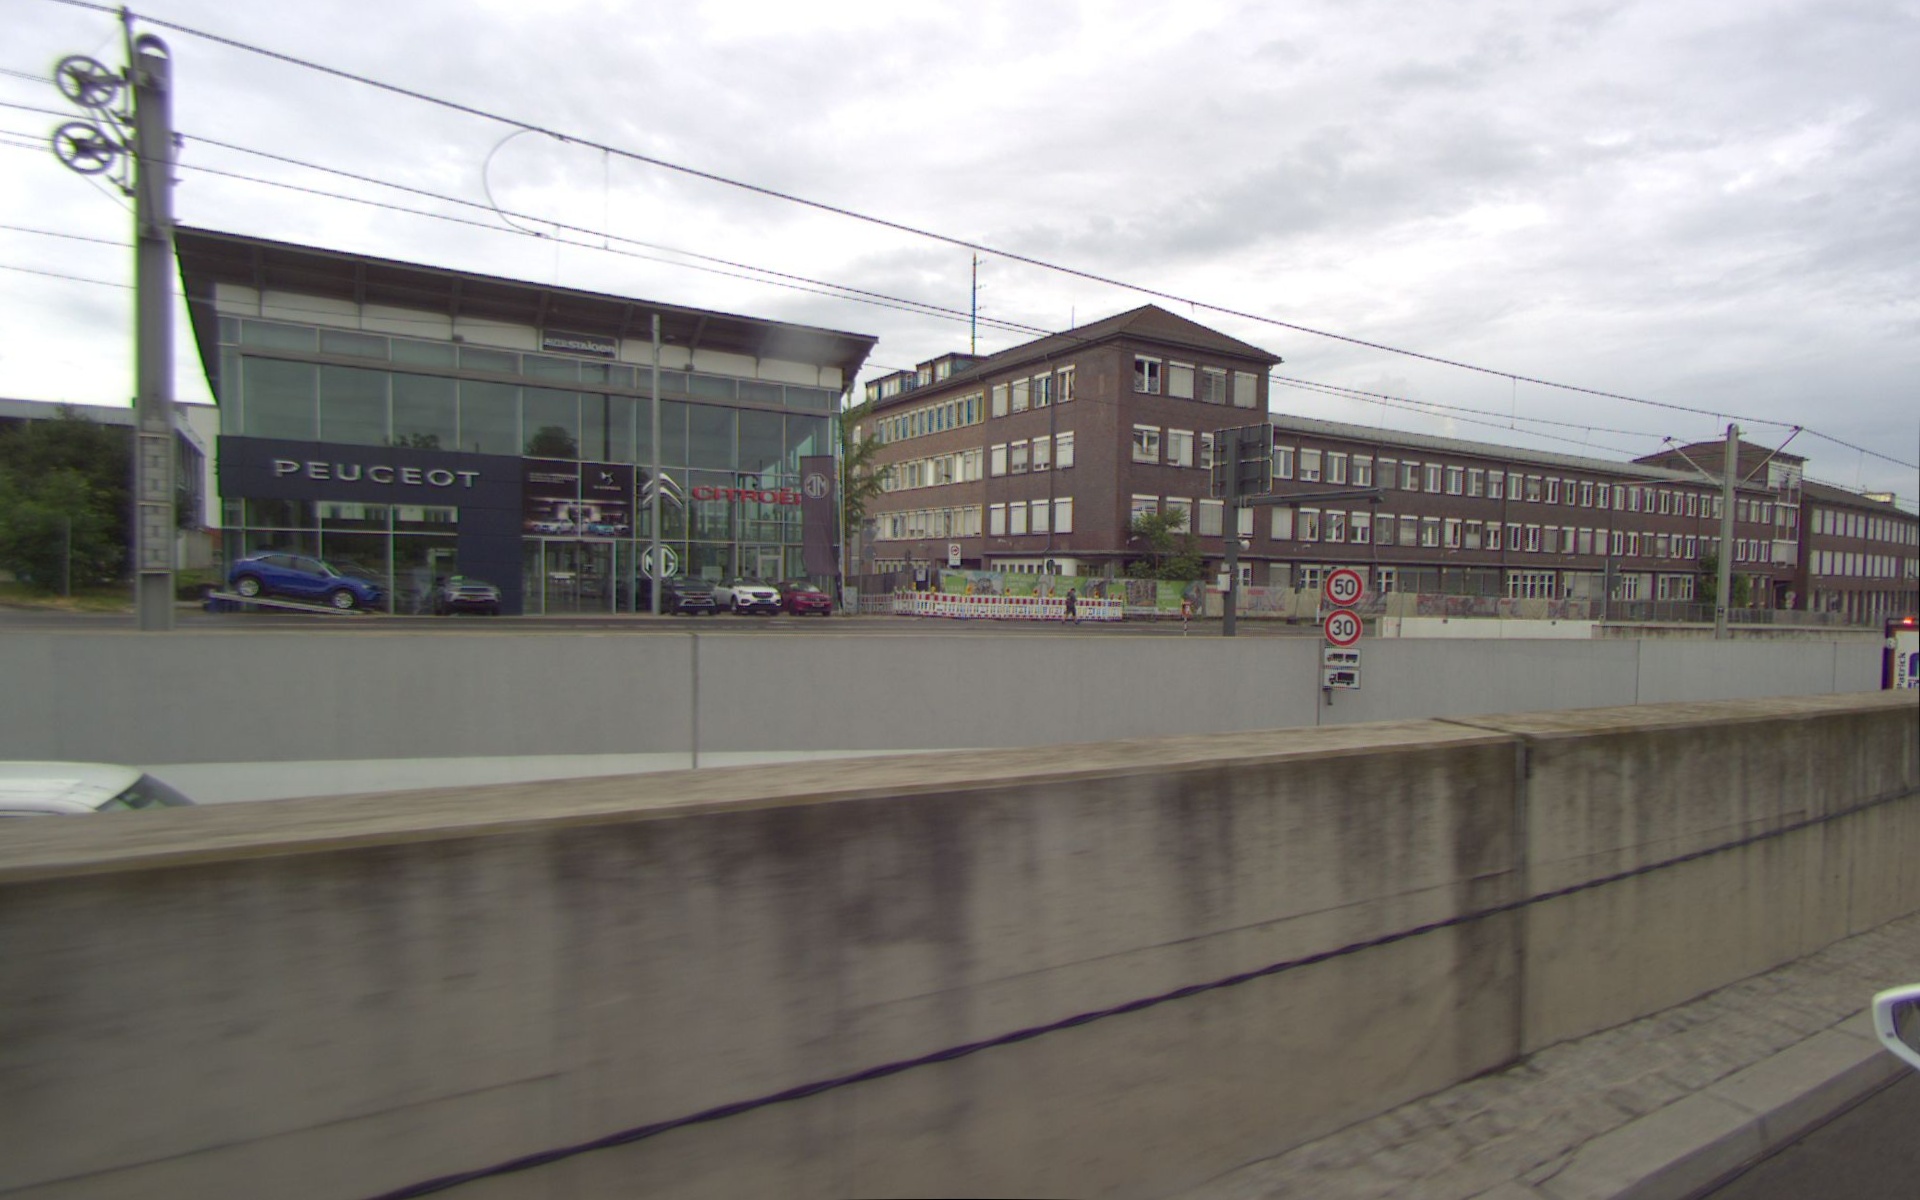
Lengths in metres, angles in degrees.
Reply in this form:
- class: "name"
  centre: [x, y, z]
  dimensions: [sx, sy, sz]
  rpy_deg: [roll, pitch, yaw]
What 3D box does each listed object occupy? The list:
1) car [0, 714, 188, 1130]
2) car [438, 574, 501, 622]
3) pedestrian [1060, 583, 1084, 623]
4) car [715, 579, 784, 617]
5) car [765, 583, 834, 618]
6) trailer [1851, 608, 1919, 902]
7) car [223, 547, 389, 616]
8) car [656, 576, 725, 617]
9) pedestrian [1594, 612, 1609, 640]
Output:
- class: "car"
  centre: [-7.155, 1.786, 5.268]
  dimensions: [4.662, 1.985, 1.900]
  rpy_deg: [1, 1, -30]
- class: "car"
  centre: [-16.995, -0.038, 34.725]
  dimensions: [1.558, 1.421, 3.483]
  rpy_deg: [0, -4, -33]
- class: "pedestrian"
  centre: [4.982, 0.131, 44.742]
  dimensions: [0.830, 1.774, 0.612]
  rpy_deg: [1, 1, -30]
- class: "car"
  centre: [-8.496, -0.094, 40.378]
  dimensions: [1.730, 1.416, 3.463]
  rpy_deg: [1, 0, -30]
- class: "car"
  centre: [-6.725, 0.017, 41.922]
  dimensions: [1.601, 1.400, 3.460]
  rpy_deg: [1, 0, -33]
- class: "trailer"
  centre: [20.021, 2.399, 17.558]
  dimensions: [13.028, 4.309, 2.749]
  rpy_deg: [1, 0, -30]
- class: "car"
  centre: [-20.682, -0.579, 31.977]
  dimensions: [4.013, 1.629, 1.757]
  rpy_deg: [8, -1, -24]
- class: "car"
  centre: [-10.504, -0.153, 39.001]
  dimensions: [1.730, 1.493, 3.463]
  rpy_deg: [1, 0, -30]
- class: "pedestrian"
  centre: [47.191, 1.882, 73.929]
  dimensions: [0.645, 2.040, 0.667]
  rpy_deg: [2, 0, -33]
